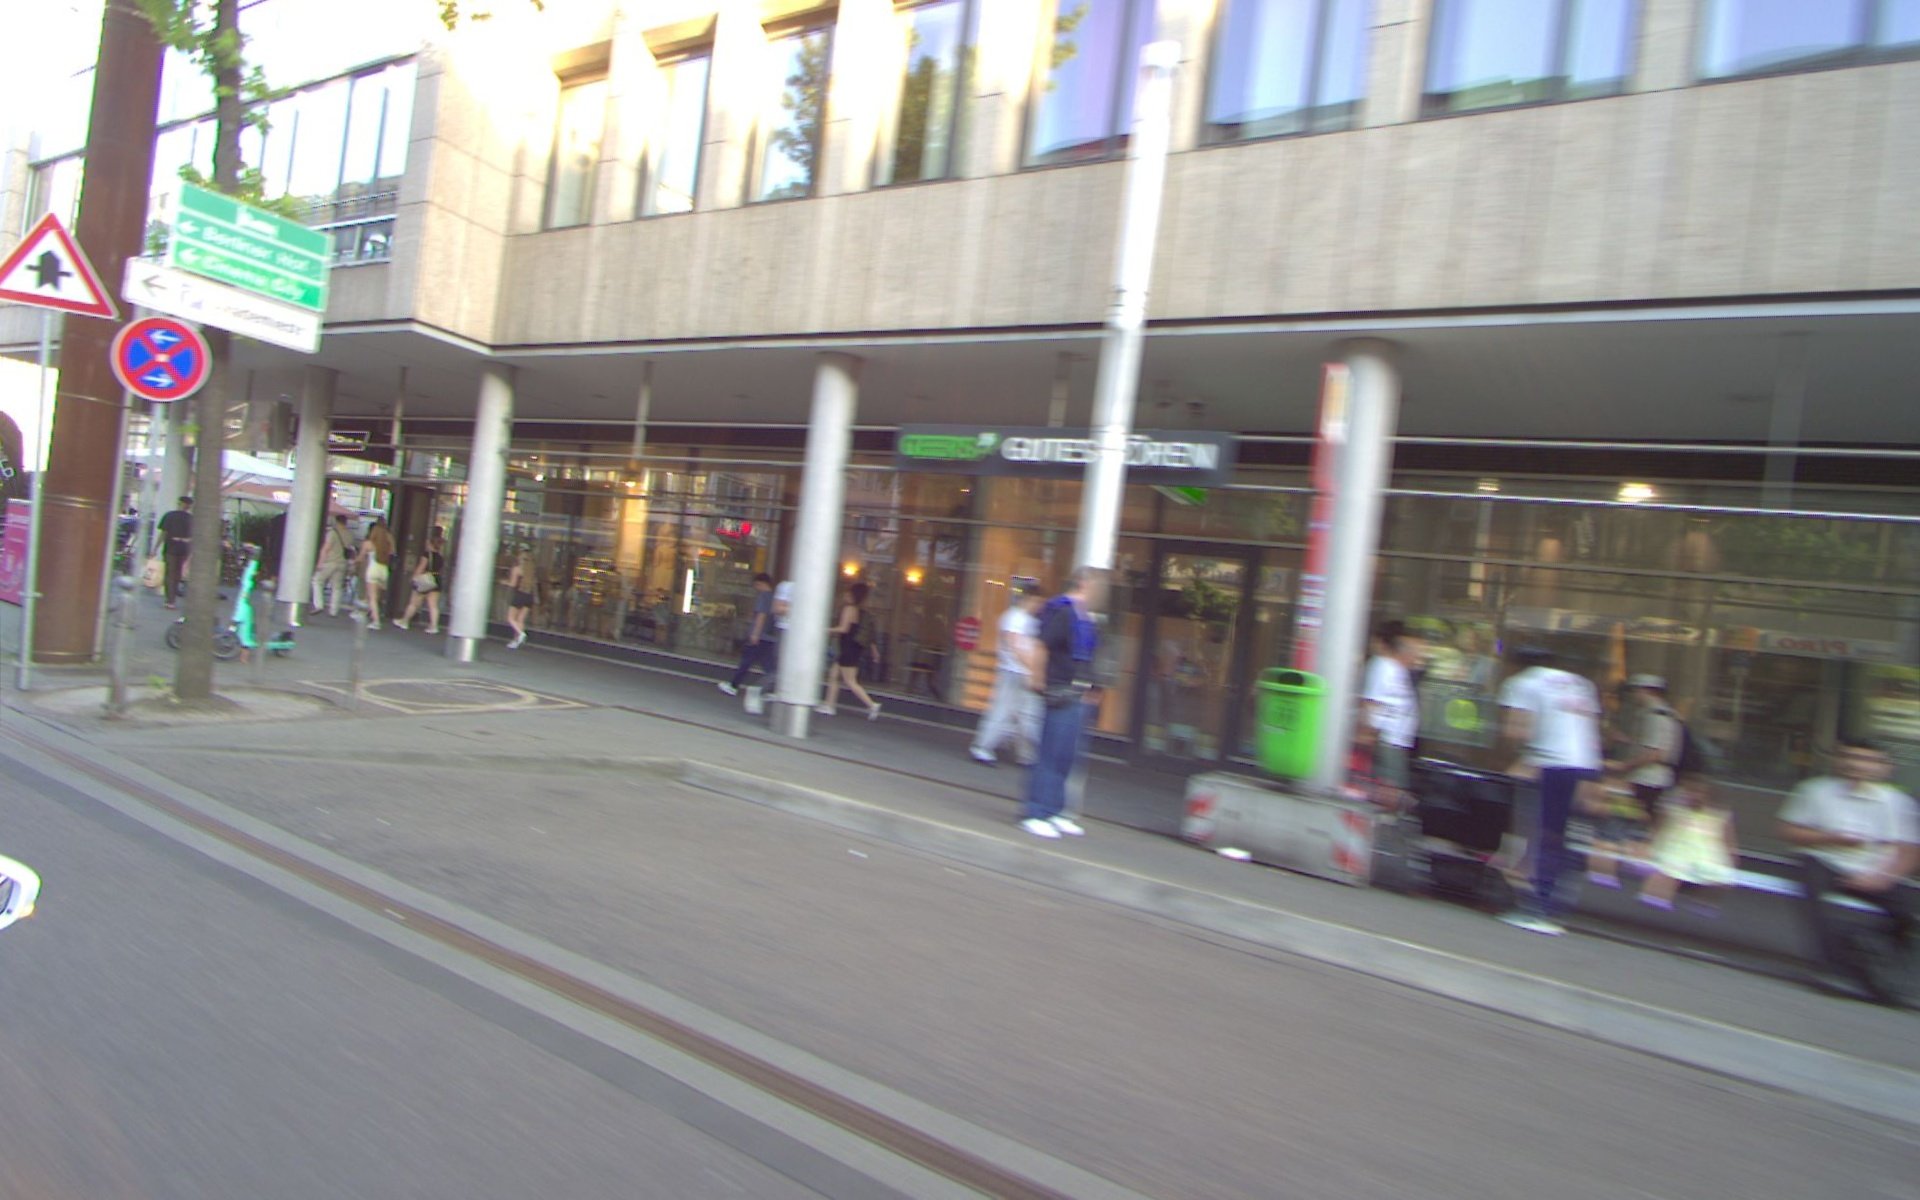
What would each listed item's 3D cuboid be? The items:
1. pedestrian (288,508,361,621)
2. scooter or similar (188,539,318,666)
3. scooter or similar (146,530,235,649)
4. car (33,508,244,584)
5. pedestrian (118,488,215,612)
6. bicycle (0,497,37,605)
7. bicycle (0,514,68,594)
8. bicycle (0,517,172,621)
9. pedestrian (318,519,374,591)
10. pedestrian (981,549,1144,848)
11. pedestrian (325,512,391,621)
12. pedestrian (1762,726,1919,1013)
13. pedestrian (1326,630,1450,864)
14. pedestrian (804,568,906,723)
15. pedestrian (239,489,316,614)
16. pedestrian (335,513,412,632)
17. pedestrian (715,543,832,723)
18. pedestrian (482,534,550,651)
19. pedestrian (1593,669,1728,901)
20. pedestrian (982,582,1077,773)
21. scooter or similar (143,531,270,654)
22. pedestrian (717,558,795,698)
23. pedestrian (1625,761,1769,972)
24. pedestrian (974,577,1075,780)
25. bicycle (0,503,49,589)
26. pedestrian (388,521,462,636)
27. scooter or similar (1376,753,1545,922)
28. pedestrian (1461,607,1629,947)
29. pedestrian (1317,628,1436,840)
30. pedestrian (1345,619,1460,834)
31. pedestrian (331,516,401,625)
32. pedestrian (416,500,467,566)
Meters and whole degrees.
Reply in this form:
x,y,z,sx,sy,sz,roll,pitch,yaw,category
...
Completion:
x,y,z,sx,sy,sz,roll,pitch,yaw,category
-10.820,-0.592,17.134,0.707,1.809,0.663,7,1,31,pedestrian
-7.664,0.029,10.960,0.487,1.267,1.115,7,1,0,scooter or similar
-8.887,-0.140,11.650,0.388,1.267,1.185,7,1,-21,scooter or similar
-22.487,-1.450,27.713,1.745,1.425,4.049,6,-2,29,car
-12.001,-0.748,15.217,0.908,1.740,0.764,7,0,32,pedestrian
-12.886,-0.688,12.483,0.713,1.350,1.918,7,1,26,bicycle
-14.098,-0.711,14.303,0.749,1.091,1.918,7,1,26,bicycle
-11.366,-0.381,12.749,0.713,1.170,2.000,7,1,26,bicycle
-17.380,-1.266,28.472,0.859,1.860,0.805,7,-2,30,pedestrian
0.709,0.640,6.850,0.696,1.862,0.669,7,1,30,pedestrian
-10.974,-0.604,18.336,0.708,1.871,0.663,7,1,36,pedestrian
5.065,1.455,5.650,0.651,1.397,0.814,7,-1,32,pedestrian
3.379,1.123,7.933,0.639,1.682,0.649,7,1,31,pedestrian
-1.293,0.559,12.458,0.761,1.794,0.774,7,0,29,pedestrian
-11.838,-0.837,17.454,0.769,2.039,0.687,7,1,31,pedestrian
-9.436,-0.439,16.199,0.707,1.809,0.663,7,1,31,pedestrian
-2.071,0.366,11.179,0.865,1.862,0.669,7,1,30,pedestrian
-6.995,-0.107,15.855,0.607,1.753,0.571,7,1,29,pedestrian
5.594,1.439,8.077,0.669,1.682,0.649,7,1,32,pedestrian
0.708,0.777,10.222,0.594,1.829,0.540,7,1,29,pedestrian
-8.424,-0.081,11.299,0.386,1.267,1.191,7,1,1,scooter or similar
-2.689,0.375,13.270,0.607,1.753,0.571,7,1,29,pedestrian
4.413,1.557,6.073,0.535,1.054,0.814,7,-1,32,pedestrian
0.624,0.743,9.639,0.594,1.829,0.540,7,1,29,pedestrian
-14.715,-0.858,14.679,0.749,1.238,1.918,7,1,26,bicycle
-8.911,-0.346,16.761,0.707,1.809,0.663,7,1,31,pedestrian
3.257,1.508,6.535,0.678,0.894,0.832,6,-3,45,scooter or similar
3.539,1.023,6.105,0.657,1.862,0.640,7,1,31,pedestrian
3.816,1.198,9.209,0.760,1.774,0.583,7,1,29,pedestrian
4.278,1.188,9.711,0.760,1.906,0.688,7,1,29,pedestrian
-10.470,-0.521,17.739,0.707,1.809,0.663,7,1,31,pedestrian
-16.268,-2.095,31.585,0.858,1.862,0.866,10,1,25,pedestrian
